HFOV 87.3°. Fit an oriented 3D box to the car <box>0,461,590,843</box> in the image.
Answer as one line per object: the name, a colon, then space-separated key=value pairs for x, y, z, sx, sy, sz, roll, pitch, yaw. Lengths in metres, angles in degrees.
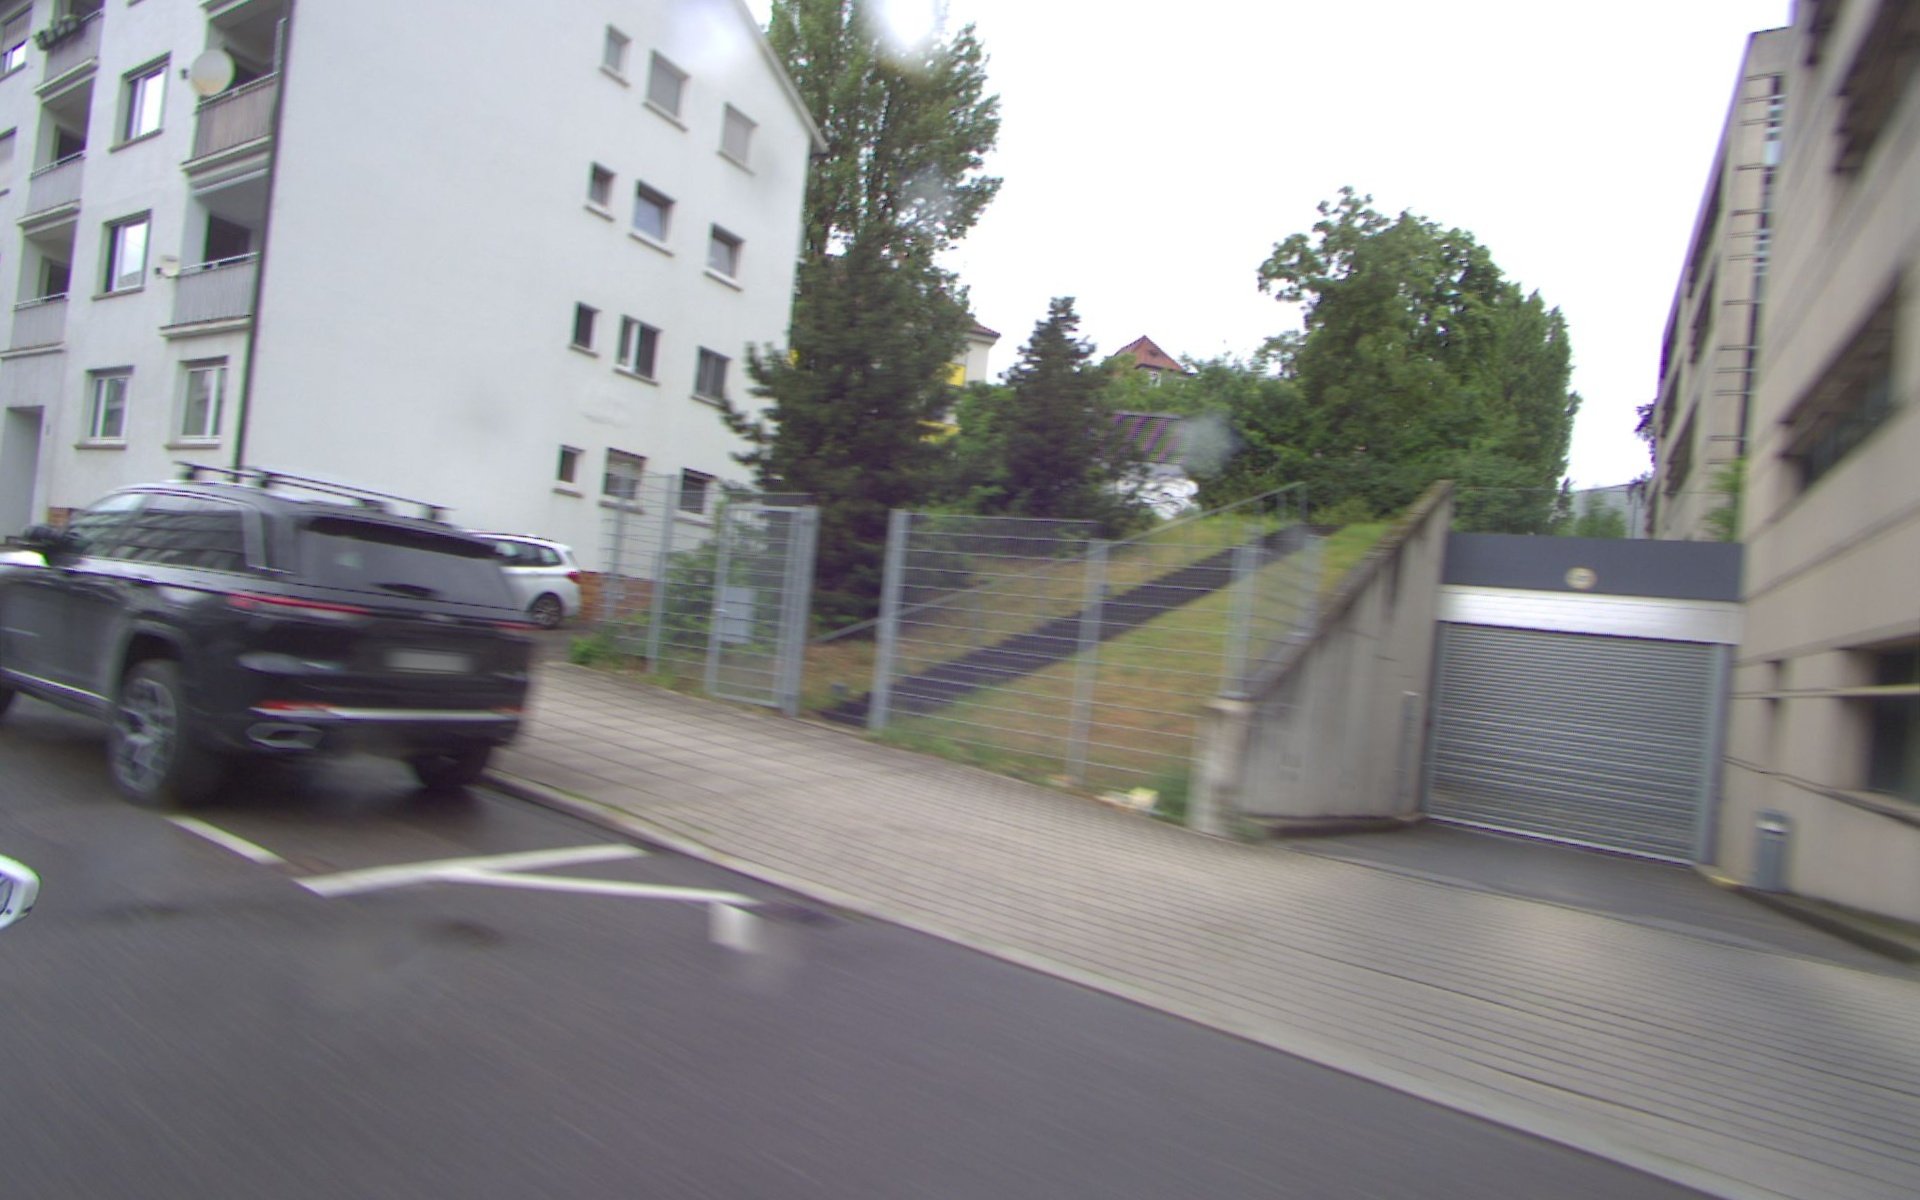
car: x=-4.999 y=0.169 z=6.902 sx=4.717 sy=1.770 sz=1.940 roll=6 pitch=-2 yaw=31

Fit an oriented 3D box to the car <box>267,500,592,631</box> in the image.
car: x=-8.695 y=-0.482 z=16.918 sx=1.873 sy=1.735 sz=4.441 roll=6 pitch=1 yaw=31
